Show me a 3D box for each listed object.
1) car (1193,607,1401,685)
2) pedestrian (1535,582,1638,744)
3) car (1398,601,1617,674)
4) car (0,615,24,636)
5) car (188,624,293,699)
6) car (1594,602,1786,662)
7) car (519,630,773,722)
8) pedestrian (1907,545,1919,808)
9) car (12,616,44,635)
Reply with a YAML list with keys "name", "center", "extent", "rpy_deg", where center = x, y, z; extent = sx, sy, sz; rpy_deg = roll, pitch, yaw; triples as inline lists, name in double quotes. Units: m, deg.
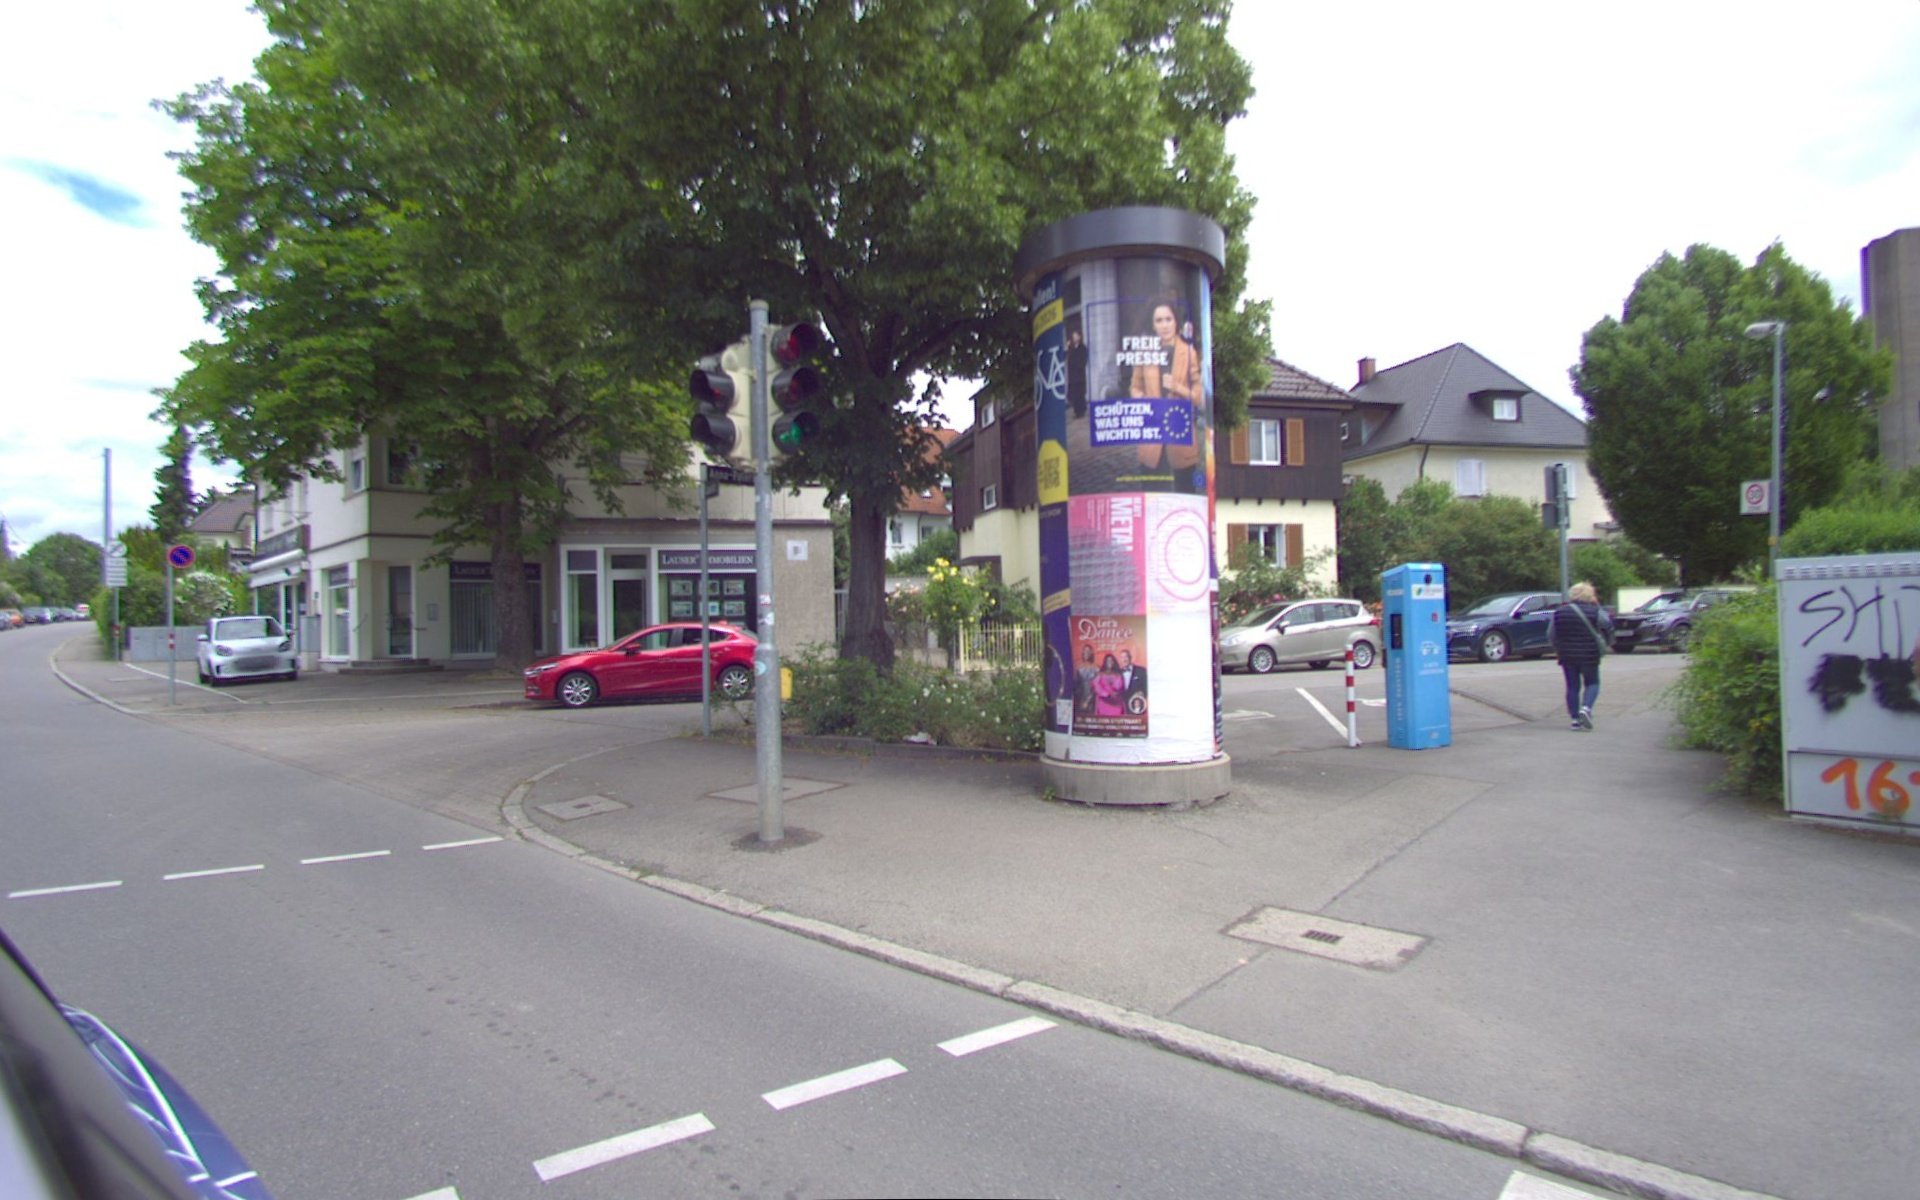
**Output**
- name: "car"
  center: [7.365, 1.005, 22.240]
  extent: [3.911, 1.501, 1.837]
  rpy_deg: [-1, -3, -15]
- name: "pedestrian"
  center: [6.611, 0.642, 10.682]
  extent: [0.689, 1.628, 0.716]
  rpy_deg: [-1, -2, -44]
- name: "car"
  center: [12.685, 0.857, 23.500]
  extent: [4.359, 1.506, 1.933]
  rpy_deg: [-1, -2, -18]
- name: "car"
  center: [-79.686, 2.119, 84.492]
  extent: [1.826, 1.639, 4.178]
  rpy_deg: [-2, 1, -38]
- name: "car"
  center: [-16.885, 1.387, 23.716]
  extent: [1.570, 1.550, 2.926]
  rpy_deg: [-3, 1, -43]
- name: "car"
  center: [18.130, 0.796, 25.178]
  extent: [3.911, 1.353, 1.741]
  rpy_deg: [-1, -2, -16]
- name: "car"
  center: [-5.611, 1.341, 18.288]
  extent: [4.161, 1.443, 1.822]
  rpy_deg: [-1, -4, -18]
- name: "pedestrian"
  center: [5.438, 0.563, 5.080]
  extent: [0.874, 1.731, 0.763]
  rpy_deg: [-2, 0, -34]
- name: "car"
  center: [-87.591, 2.411, 95.172]
  extent: [1.925, 1.639, 4.384]
  rpy_deg: [-2, 1, -39]
